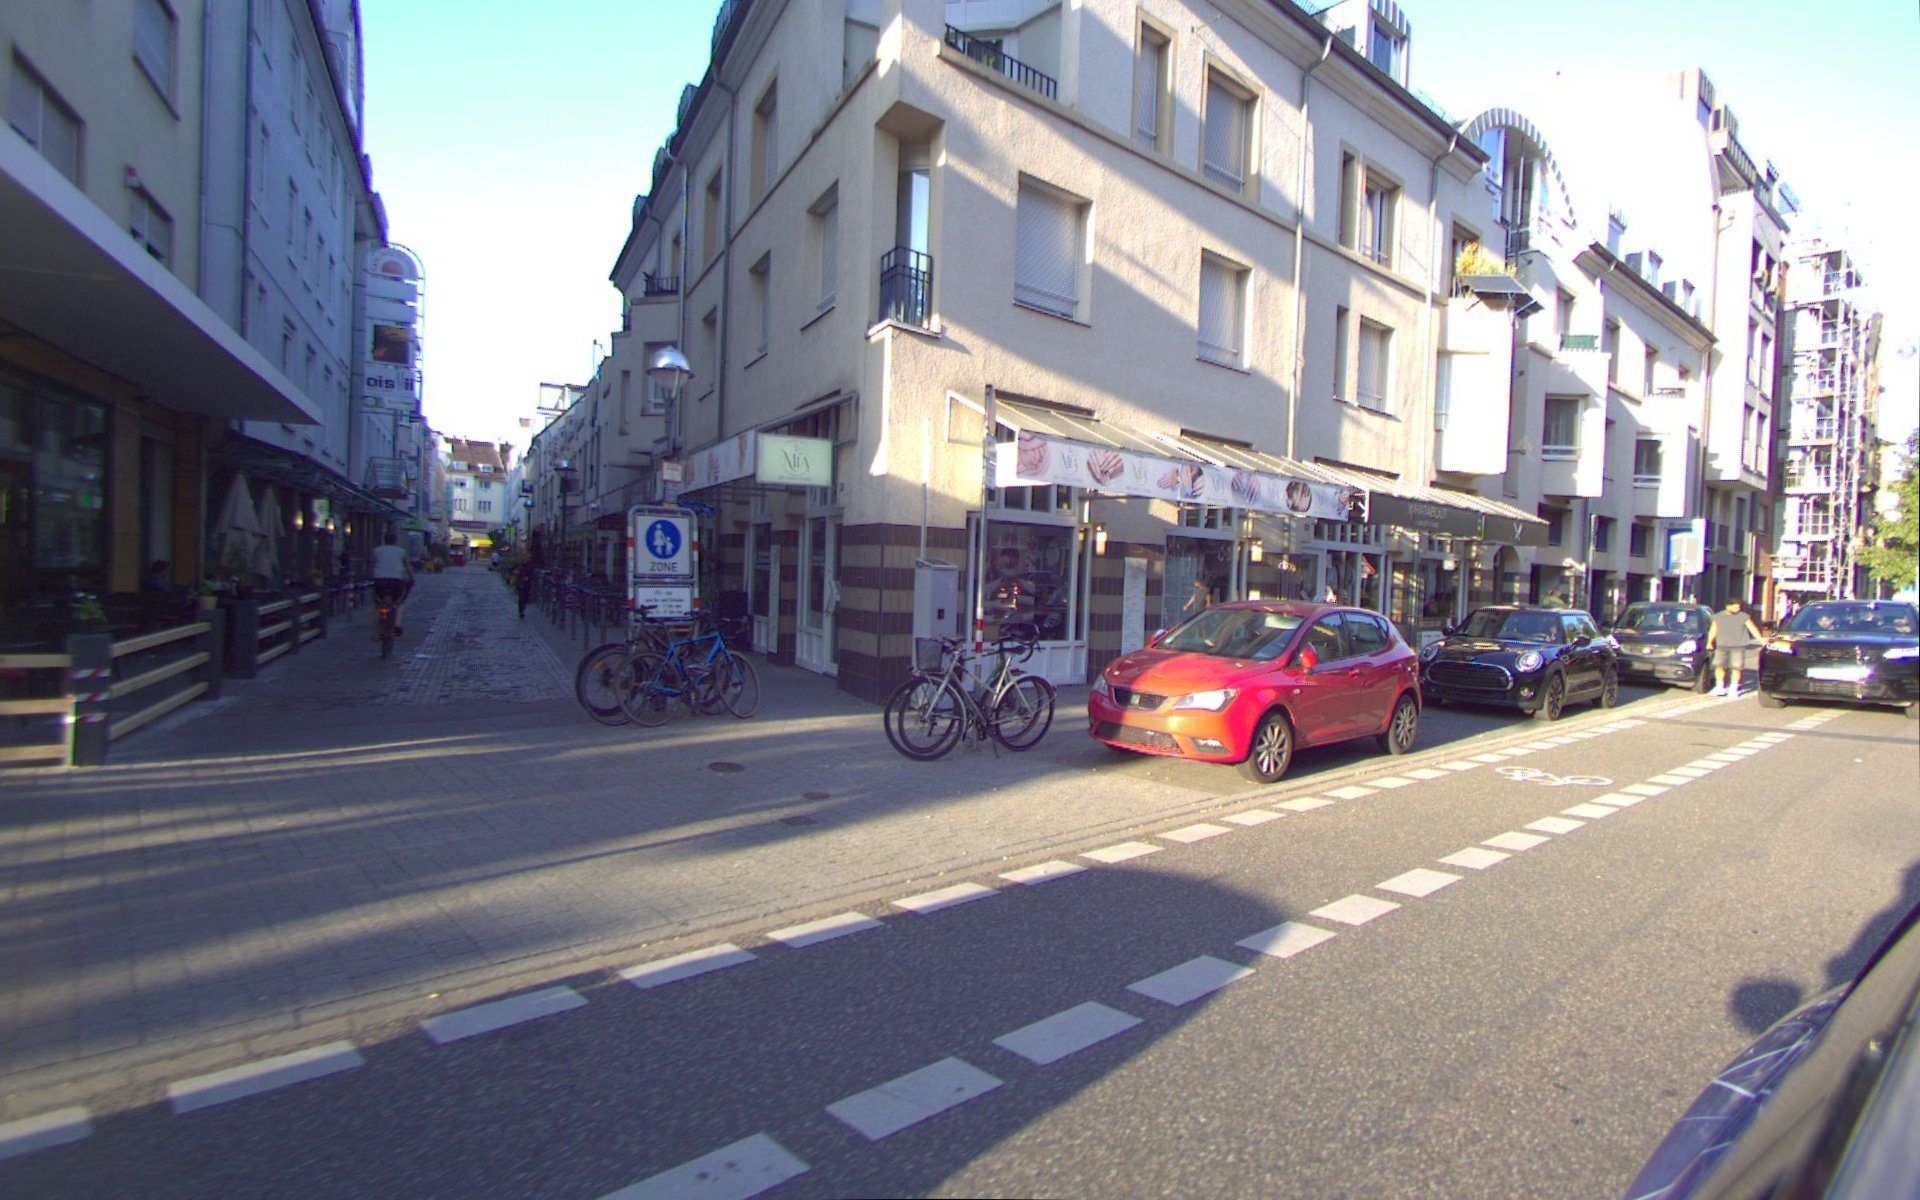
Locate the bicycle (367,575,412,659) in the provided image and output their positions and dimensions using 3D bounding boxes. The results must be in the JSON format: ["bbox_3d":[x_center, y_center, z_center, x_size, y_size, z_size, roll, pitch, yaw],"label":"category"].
[{"bbox_3d":[-8.617,0.222,15.318,0.455,1.161,1.982,3,0,-27],"label":"bicycle"}]

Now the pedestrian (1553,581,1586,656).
[{"bbox_3d":[15.068,0.441,25.025,0.441,1.822,0.576,0,0,1],"label":"pedestrian"}]

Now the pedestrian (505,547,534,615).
[{"bbox_3d":[-11.130,-0.481,25.569,0.641,1.675,0.569,1,1,-23],"label":"pedestrian"}]

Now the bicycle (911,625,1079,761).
[{"bbox_3d":[0.339,0.769,8.839,1.634,1.059,0.315,0,3,-39],"label":"bicycle"}]

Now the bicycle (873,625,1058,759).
[{"bbox_3d":[0.091,0.781,9.082,1.848,1.059,0.315,0,3,-39],"label":"bicycle"}]

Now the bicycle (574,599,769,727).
[{"bbox_3d":[-2.735,0.564,9.757,1.855,1.118,0.291,0,2,-41],"label":"bicycle"}]

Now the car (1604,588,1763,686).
[{"bbox_3d":[13.610,0.625,18.965,3.858,1.612,1.619,0,2,-42],"label":"car"}]

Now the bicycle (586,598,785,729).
[{"bbox_3d":[-2.538,0.554,9.523,1.847,1.118,0.321,0,2,-41],"label":"bicycle"}]

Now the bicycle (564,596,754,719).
[{"bbox_3d":[-2.957,0.526,10.094,1.847,1.118,0.321,0,2,-41],"label":"bicycle"}]

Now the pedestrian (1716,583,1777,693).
[{"bbox_3d":[13.202,0.613,16.981,0.658,1.771,0.630,0,2,-42],"label":"pedestrian"}]

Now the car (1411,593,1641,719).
[{"bbox_3d":[7.959,0.672,14.091,3.858,1.451,1.619,0,2,-42],"label":"car"}]

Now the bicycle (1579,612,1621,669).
[{"bbox_3d":[12.886,0.803,20.378,1.437,1.099,0.296,0,1,-41],"label":"bicycle"}]

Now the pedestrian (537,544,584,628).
[{"bbox_3d":[-8.315,-0.307,21.105,0.689,1.696,0.799,2,3,-6],"label":"pedestrian"}]

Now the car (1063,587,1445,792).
[{"bbox_3d":[2.864,0.662,9.406,3.858,1.451,1.591,0,3,-42],"label":"car"}]

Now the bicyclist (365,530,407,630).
[{"bbox_3d":[-8.655,-0.308,15.281,0.453,1.452,0.720,3,0,-27],"label":"bicyclist"}]

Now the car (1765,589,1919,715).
[{"bbox_3d":[13.899,0.696,15.426,4.154,1.656,1.888,0,1,-42],"label":"car"}]
